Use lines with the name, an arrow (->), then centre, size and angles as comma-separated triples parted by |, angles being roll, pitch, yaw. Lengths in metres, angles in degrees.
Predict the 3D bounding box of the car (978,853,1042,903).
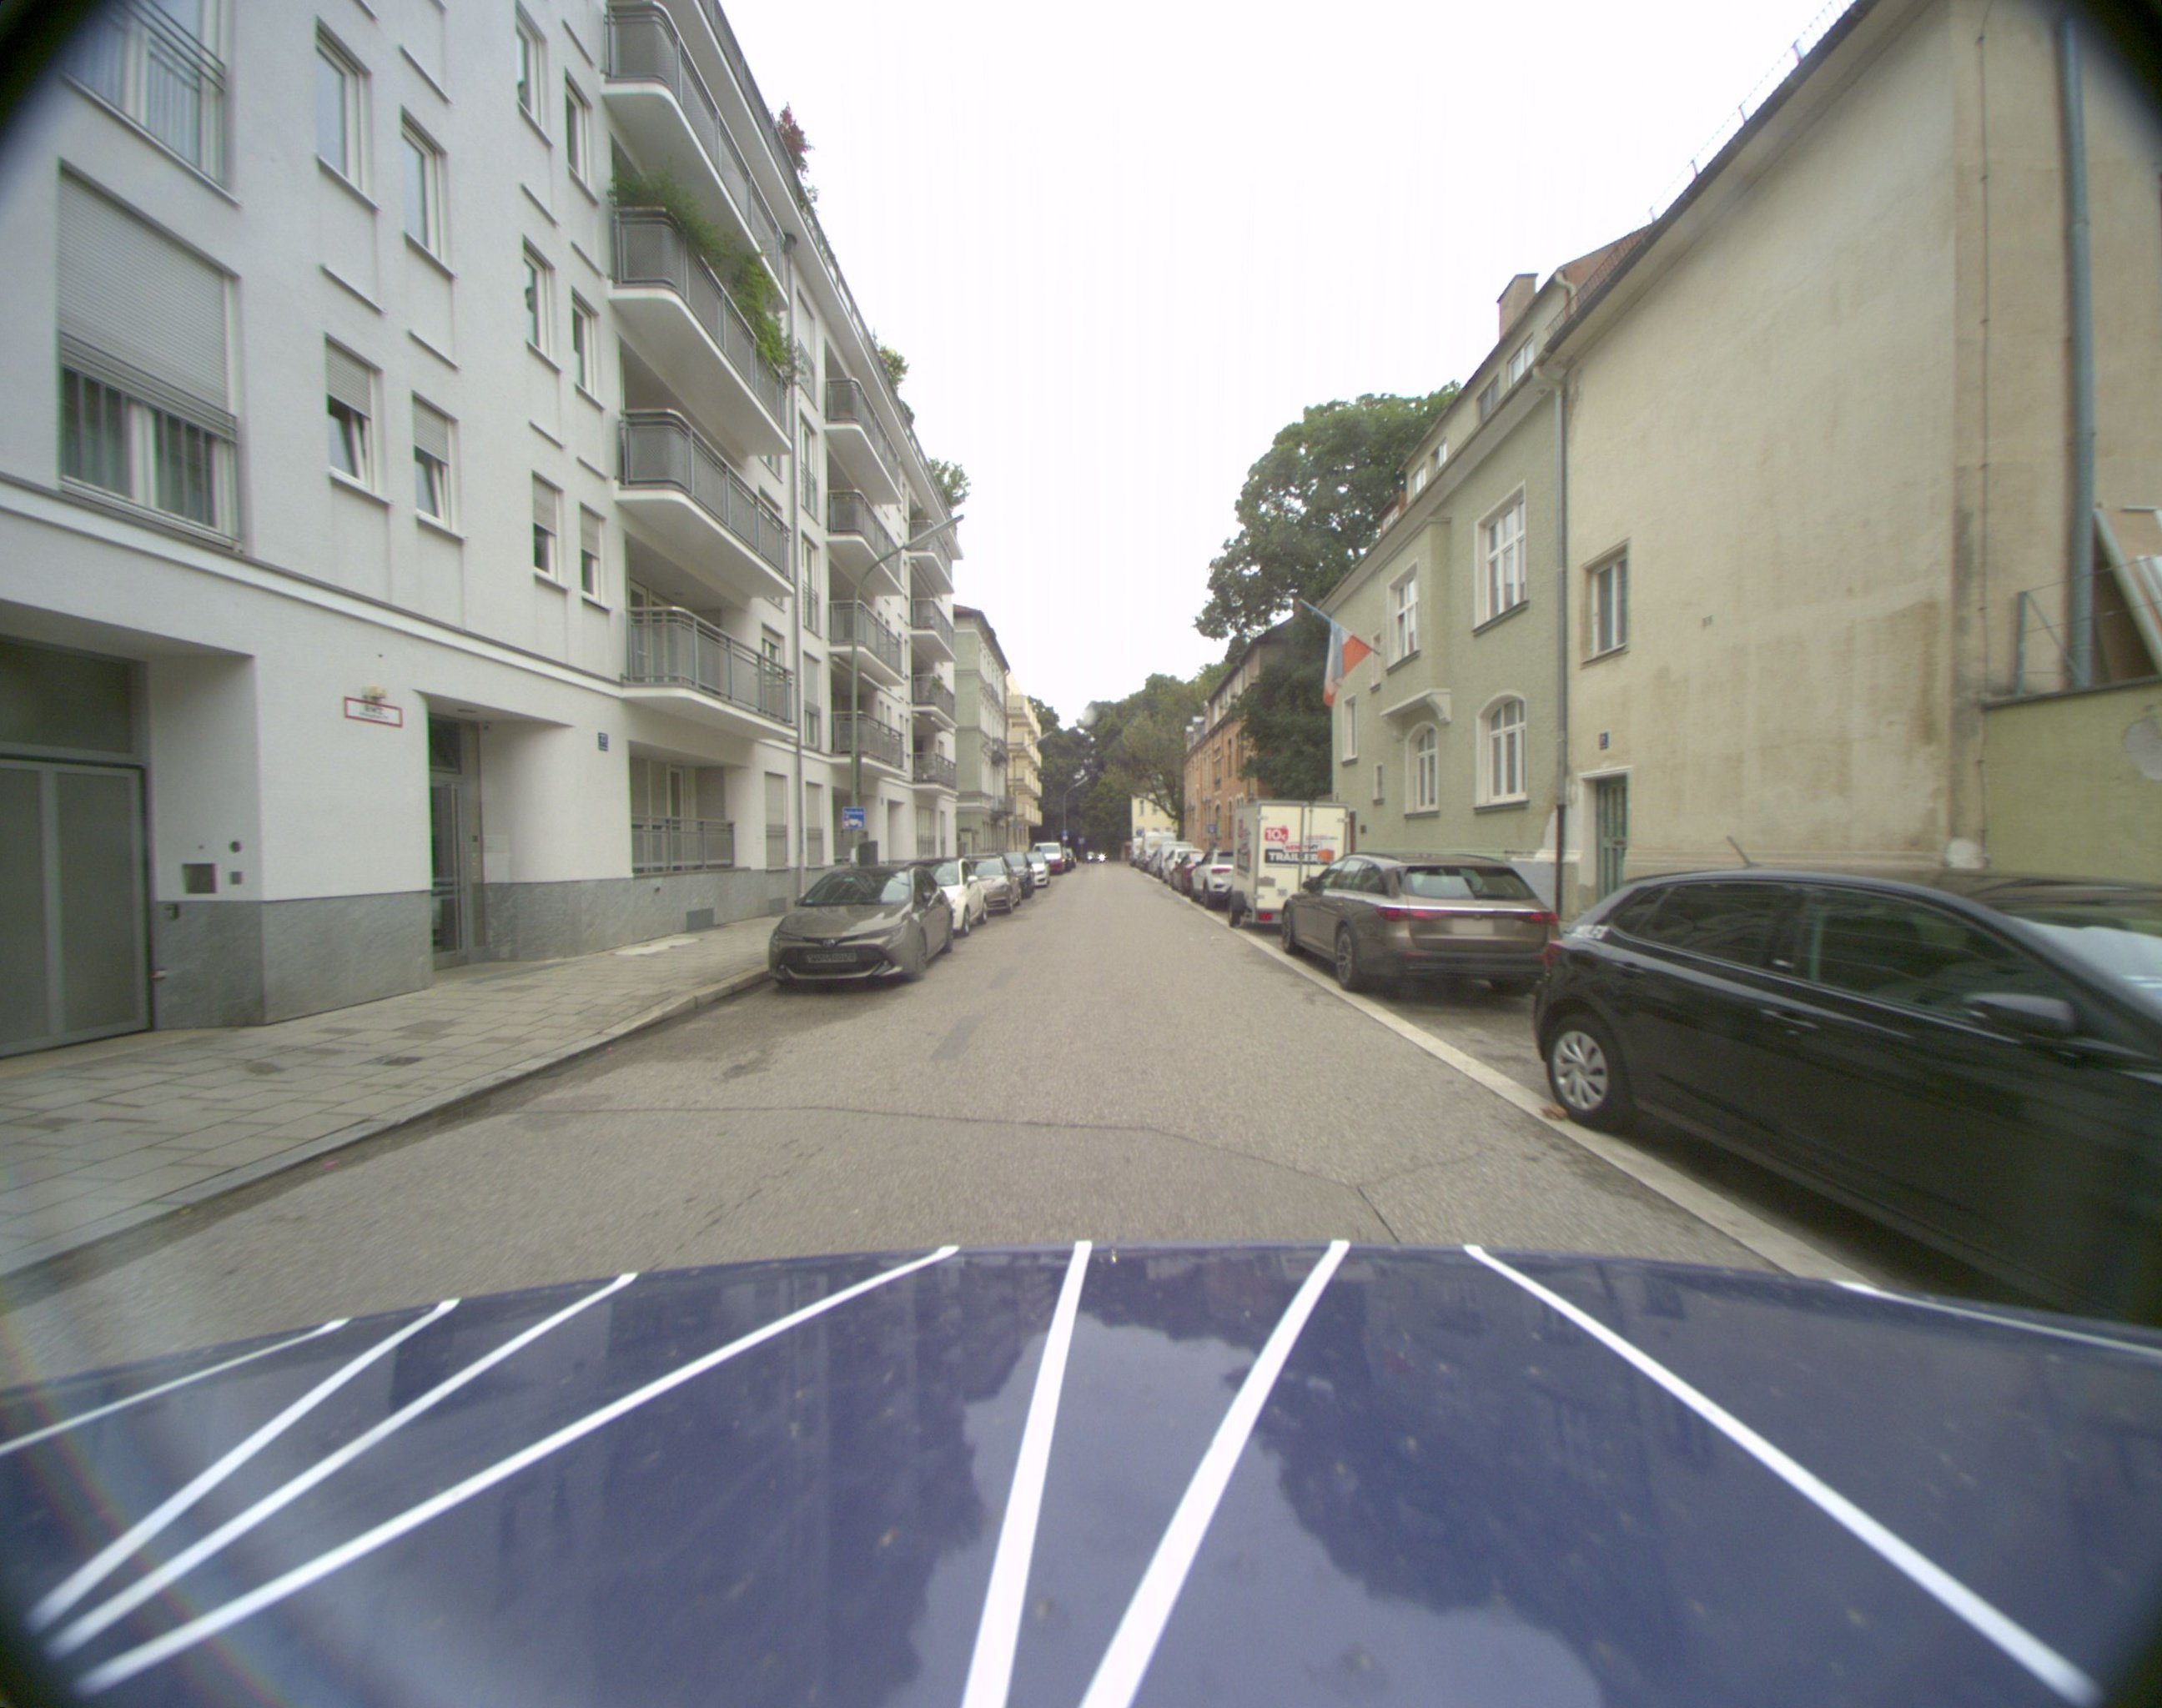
car -> -2.372, 0.763, 26.226 | 1.842, 1.524, 4.020 | -3, 0, -1

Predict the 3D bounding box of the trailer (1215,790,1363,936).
trailer -> 3.962, 0.136, 15.313 | 1.980, 2.457, 4.578 | 1, 1, 5

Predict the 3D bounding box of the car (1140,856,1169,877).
car -> 5.107, 0.820, 53.162 | 1.769, 1.407, 3.793 | 0, 0, 1

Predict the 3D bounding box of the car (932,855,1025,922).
car -> -2.584, 0.807, 20.208 | 1.796, 1.473, 4.603 | -3, 0, 0

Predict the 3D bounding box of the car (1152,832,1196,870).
car -> 4.534, -0.127, 37.457 | 1.719, 1.745, 4.250 | 0, 0, 1

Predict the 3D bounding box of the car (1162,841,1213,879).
car -> 4.281, 0.222, 31.039 | 1.630, 1.459, 3.521 | 0, 0, 1

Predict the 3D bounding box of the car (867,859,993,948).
car -> -2.869, 0.887, 15.215 | 1.621, 1.458, 3.746 | -3, 0, 1

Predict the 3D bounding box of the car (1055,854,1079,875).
car -> -1.139, 0.857, 63.976 | 1.771, 1.607, 4.263 | -2, 0, 1

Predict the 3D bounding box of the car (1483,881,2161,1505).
car -> 3.476, 0.893, 2.731 | 1.679, 1.428, 4.285 | 0, 0, -2

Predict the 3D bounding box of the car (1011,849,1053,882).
car -> -2.317, 0.544, 36.804 | 1.719, 1.415, 3.719 | -3, 0, -1

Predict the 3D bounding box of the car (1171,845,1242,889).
car -> 4.145, 0.411, 25.730 | 1.750, 1.360, 4.403 | 0, 0, 1

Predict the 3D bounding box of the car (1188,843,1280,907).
car -> 3.980, 0.507, 20.376 | 1.683, 1.521, 4.107 | 0, 0, 1

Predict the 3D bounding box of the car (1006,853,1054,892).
car -> -2.103, 0.731, 32.097 | 1.668, 1.458, 4.376 | -3, 0, 0

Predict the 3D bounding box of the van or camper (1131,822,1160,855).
van or camper -> 5.388, -1.233, 64.213 | 2.116, 2.646, 4.958 | 0, 0, 1

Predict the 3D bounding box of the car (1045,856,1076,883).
car -> -1.378, 1.062, 53.228 | 1.860, 1.700, 4.698 | -2, 0, 2

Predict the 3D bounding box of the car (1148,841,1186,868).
car -> 4.726, 0.013, 42.302 | 1.719, 1.412, 4.166 | 0, 0, 1

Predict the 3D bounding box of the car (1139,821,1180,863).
car -> 4.856, -0.697, 47.786 | 2.117, 2.461, 5.231 | 0, 0, 1

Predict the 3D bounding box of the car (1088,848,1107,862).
car -> 1.869, 0.102, 84.901 | 1.998, 1.521, 4.000 | -2, 0, 1

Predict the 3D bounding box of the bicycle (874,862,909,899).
bicycle -> -6.011, 0.835, 24.189 | 0.570, 1.091, 1.810 | 2, 0, 2

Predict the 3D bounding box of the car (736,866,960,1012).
car -> -2.850, 0.949, 10.321 | 1.776, 1.467, 4.217 | -2, 0, -1

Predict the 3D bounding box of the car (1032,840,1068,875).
car -> -1.874, 0.203, 46.992 | 1.858, 2.019, 4.783 | -2, 0, 1

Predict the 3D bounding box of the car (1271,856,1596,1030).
car -> 3.779, 0.794, 9.336 | 1.868, 1.532, 5.092 | 0, 0, 3
